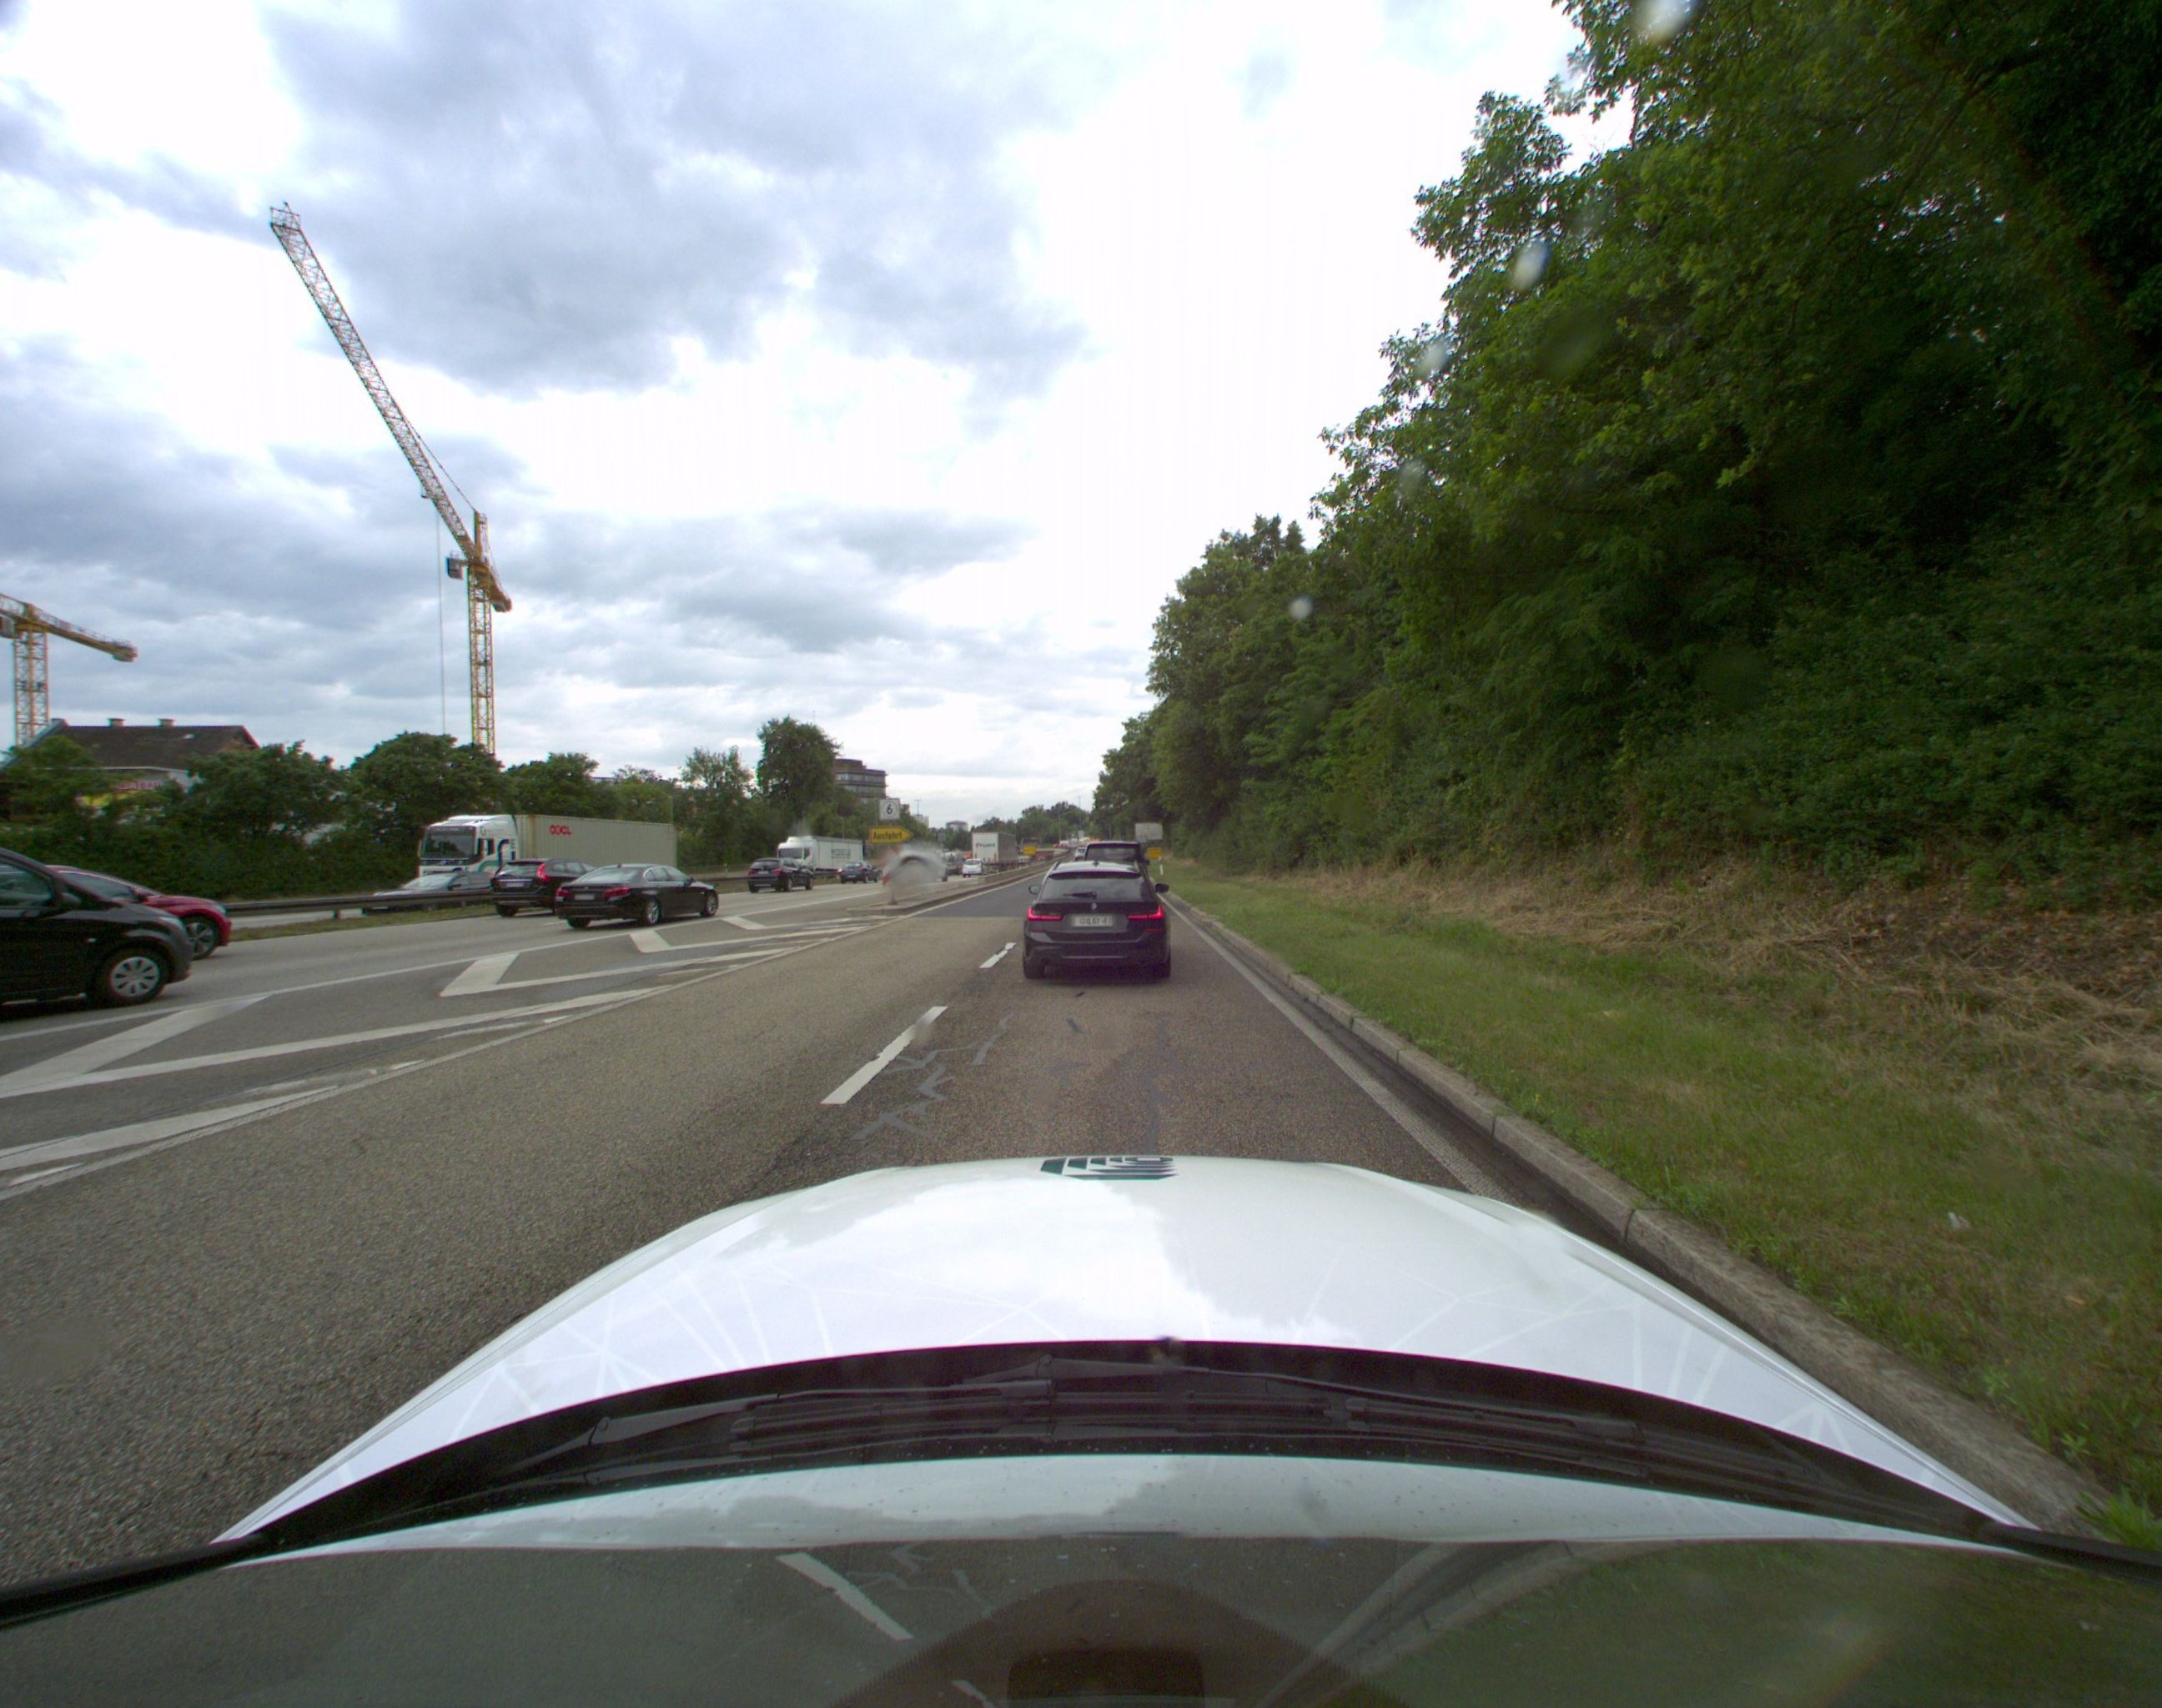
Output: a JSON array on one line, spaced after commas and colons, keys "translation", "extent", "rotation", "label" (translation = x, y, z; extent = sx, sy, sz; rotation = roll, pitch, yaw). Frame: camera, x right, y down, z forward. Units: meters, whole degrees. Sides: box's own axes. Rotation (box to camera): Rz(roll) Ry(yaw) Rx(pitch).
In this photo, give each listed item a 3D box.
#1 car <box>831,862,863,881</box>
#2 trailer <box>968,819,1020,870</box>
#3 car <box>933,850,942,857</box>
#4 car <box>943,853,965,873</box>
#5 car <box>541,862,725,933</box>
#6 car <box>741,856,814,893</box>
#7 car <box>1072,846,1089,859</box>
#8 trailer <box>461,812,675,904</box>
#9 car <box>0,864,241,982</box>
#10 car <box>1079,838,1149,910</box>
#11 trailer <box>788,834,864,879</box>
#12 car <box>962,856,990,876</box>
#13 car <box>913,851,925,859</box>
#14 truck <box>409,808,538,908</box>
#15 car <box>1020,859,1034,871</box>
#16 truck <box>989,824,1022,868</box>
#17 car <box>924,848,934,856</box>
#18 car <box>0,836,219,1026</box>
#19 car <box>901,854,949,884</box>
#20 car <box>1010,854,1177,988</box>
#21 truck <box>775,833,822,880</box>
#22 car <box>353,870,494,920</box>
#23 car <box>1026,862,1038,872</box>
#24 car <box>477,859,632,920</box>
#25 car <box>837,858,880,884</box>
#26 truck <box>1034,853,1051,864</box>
[{"translation": [-20.579, 1.547, 71.722], "extent": [1.591, 1.584, 3.565], "rotation": [-1, 0, 2], "label": "car"}, {"translation": [-8.549, -0.839, 82.019], "extent": [3.120, 4.725, 14.565], "rotation": [0, 0, 2], "label": "trailer"}, {"translation": [-34.664, -0.138, 196.991], "extent": [1.433, 1.446, 3.243], "rotation": [-1, 0, 0], "label": "car"}, {"translation": [-13.320, 0.911, 85.519], "extent": [1.437, 2.044, 3.683], "rotation": [-1, 0, 3], "label": "car"}, {"translation": [-10.713, 0.955, 19.931], "extent": [1.705, 1.457, 4.670], "rotation": [-1, 0, 3], "label": "car"}, {"translation": [-14.753, 0.949, 39.838], "extent": [1.884, 1.681, 4.307], "rotation": [-1, 0, 1], "label": "car"}, {"translation": [-0.012, -0.231, 104.255], "extent": [1.922, 1.596, 3.880], "rotation": [-1, 0, 3], "label": "car"}, {"translation": [-25.951, 0.165, 42.580], "extent": [2.388, 4.029, 13.085], "rotation": [-1, 0, 2], "label": "trailer"}, {"translation": [-15.551, 0.982, 12.162], "extent": [1.759, 1.567, 3.948], "rotation": [-1, 0, 3], "label": "car"}, {"translation": [0.952, 0.518, 23.410], "extent": [1.789, 1.872, 4.002], "rotation": [-1, 0, 2], "label": "car"}, {"translation": [-24.461, 0.222, 79.088], "extent": [2.584, 3.982, 13.788], "rotation": [-1, 0, 2], "label": "trailer"}, {"translation": [-8.516, 0.937, 66.484], "extent": [1.762, 1.549, 3.493], "rotation": [-1, 0, 1], "label": "car"}, {"translation": [-31.676, 0.245, 159.397], "extent": [1.432, 1.574, 3.245], "rotation": [-1, 0, 2], "label": "car"}, {"translation": [-26.235, 0.163, 35.380], "extent": [2.396, 4.020, 4.002], "rotation": [-1, 0, 2], "label": "truck"}, {"translation": [-7.528, 1.556, 113.807], "extent": [1.695, 1.528, 3.471], "rotation": [-1, 0, 2], "label": "car"}, {"translation": [-8.308, -0.817, 89.707], "extent": [3.072, 4.697, 4.234], "rotation": [0, 0, 2], "label": "truck"}, {"translation": [-33.273, -0.482, 178.588], "extent": [1.432, 1.586, 3.245], "rotation": [-1, 0, 2], "label": "car"}, {"translation": [-11.520, 0.767, 7.494], "extent": [1.987, 1.851, 4.812], "rotation": [-1, 0, 1], "label": "car"}, {"translation": [-9.587, 0.887, 50.488], "extent": [1.939, 1.692, 4.509], "rotation": [-1, 0, 2], "label": "car"}, {"translation": [0.161, 0.755, 11.137], "extent": [1.840, 1.467, 4.000], "rotation": [-1, 0, 0], "label": "car"}, {"translation": [-24.713, 0.215, 71.384], "extent": [2.586, 3.990, 4.002], "rotation": [-1, 0, 2], "label": "truck"}, {"translation": [-22.388, 1.346, 27.938], "extent": [1.681, 1.464, 3.764], "rotation": [-1, 0, 2], "label": "car"}, {"translation": [-7.510, 1.944, 123.926], "extent": [1.442, 1.490, 3.064], "rotation": [-1, 0, 3], "label": "car"}, {"translation": [-15.673, 0.987, 24.563], "extent": [1.745, 1.635, 4.269], "rotation": [-1, 0, 2], "label": "car"}, {"translation": [-14.745, 1.113, 54.223], "extent": [1.681, 1.608, 4.009], "rotation": [0, 0, 1], "label": "car"}, {"translation": [-8.655, 1.012, 185.676], "extent": [3.262, 2.509, 7.664], "rotation": [-1, 0, 2], "label": "truck"}]
